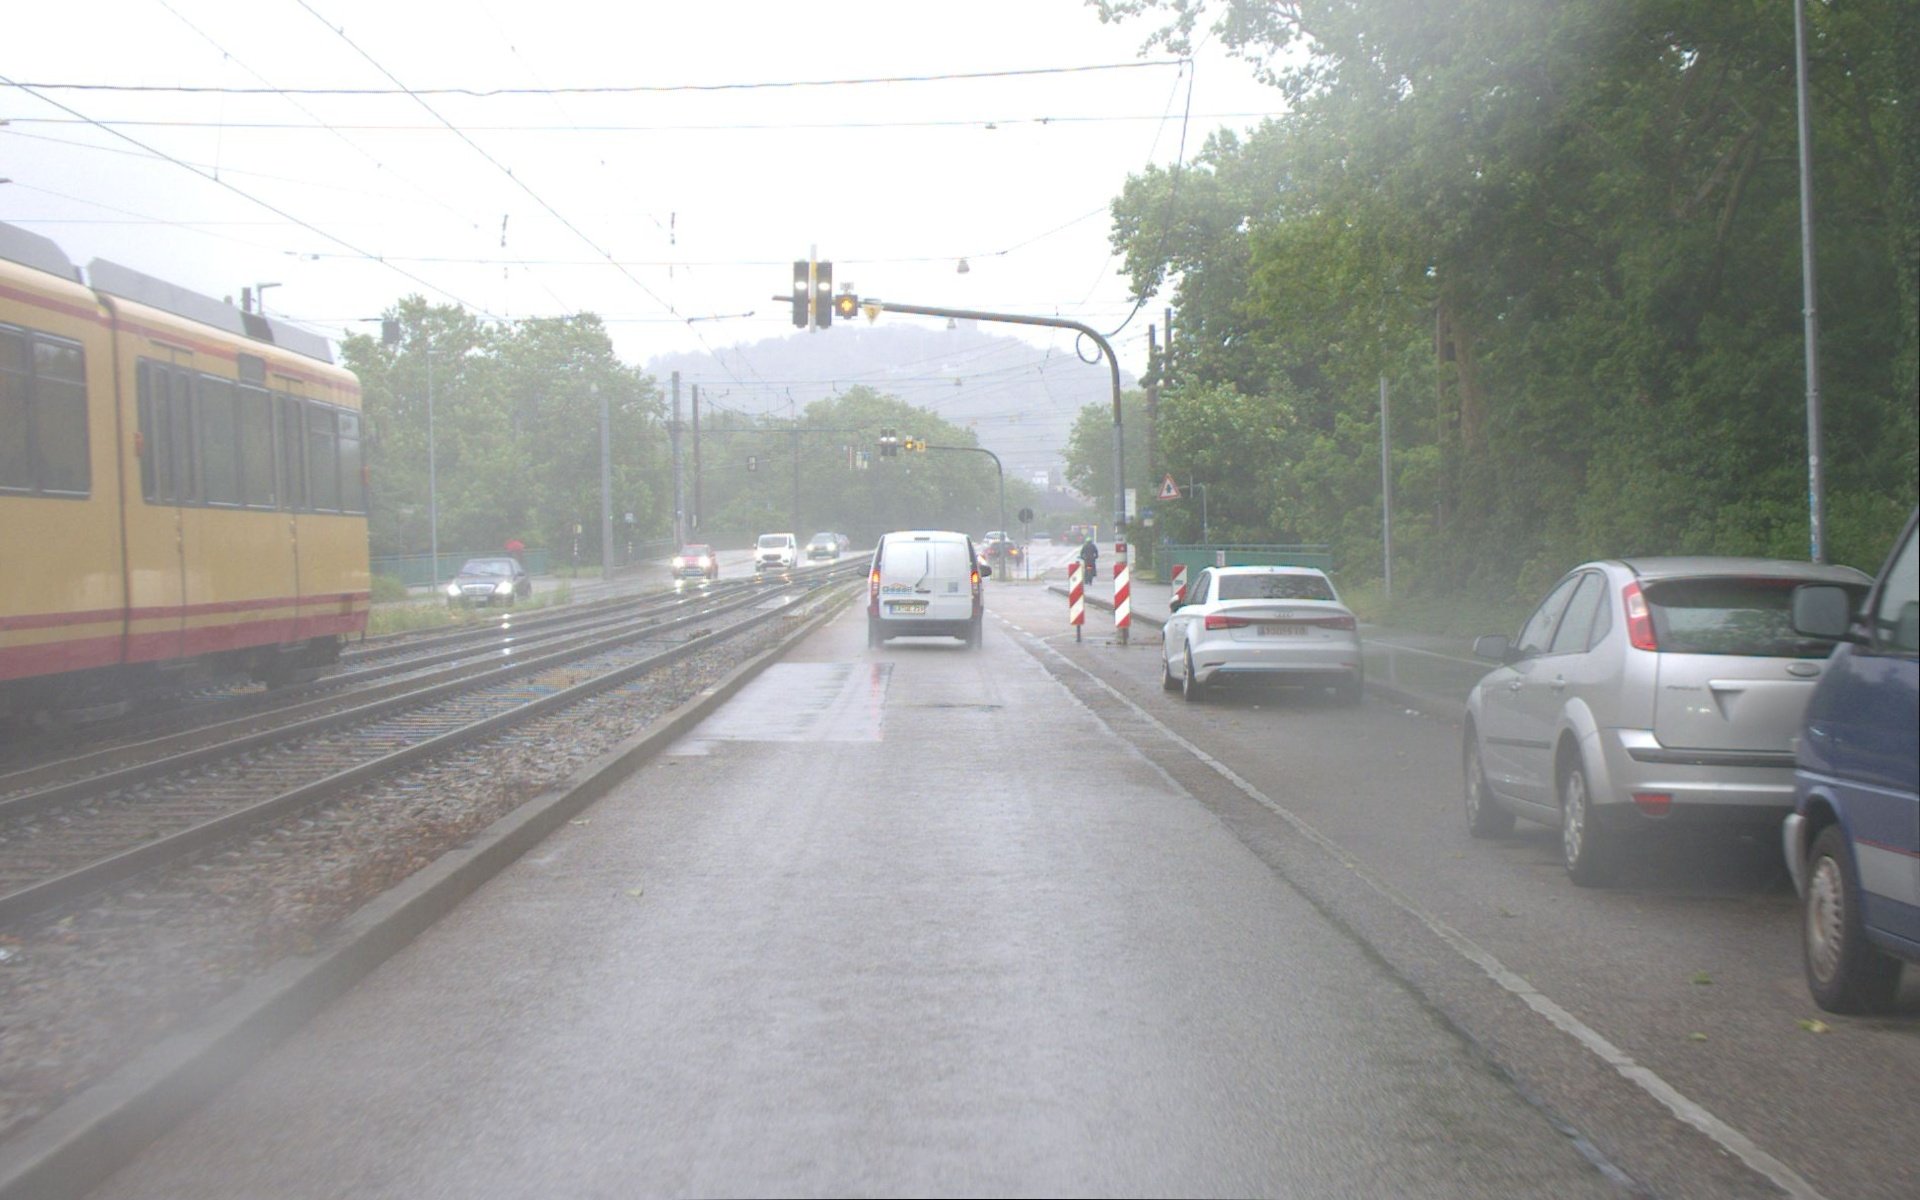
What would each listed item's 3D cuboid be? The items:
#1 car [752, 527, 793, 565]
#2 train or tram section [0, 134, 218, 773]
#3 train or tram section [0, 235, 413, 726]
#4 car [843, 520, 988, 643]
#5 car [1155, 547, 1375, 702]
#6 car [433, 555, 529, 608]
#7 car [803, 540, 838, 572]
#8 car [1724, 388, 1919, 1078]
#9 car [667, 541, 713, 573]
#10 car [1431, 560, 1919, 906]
[{"bbox_3d":[-10.400,-2.983,190.753,1.993,2.007,4.000,0,0,0],"label":"car"},{"bbox_3d":[-7.618,-0.953,22.504,2.806,4.135,13.020,0,1,-1],"label":"train or tram section"},{"bbox_3d":[-7.679,-1.027,34.169,2.811,4.135,10.269,0,0,0],"label":"train or tram section"},{"bbox_3d":[-0.728,-0.297,53.429,1.993,1.842,4.001,0,1,-4],"label":"car"},{"bbox_3d":[3.136,0.206,36.138,1.819,1.481,4.481,1,1,-1],"label":"car"},{"bbox_3d":[-13.307,-0.542,95.806,1.993,1.399,5.386,0,1,-1],"label":"car"},{"bbox_3d":[-8.791,-2.787,217.340,1.993,1.941,4.000,0,0,0],"label":"car"},{"bbox_3d":[3.744,0.405,9.907,1.876,2.007,4.980,1,1,-1],"label":"car"},{"bbox_3d":[-12.275,-1.977,156.640,1.819,1.393,4.000,-1,1,-1],"label":"car"},{"bbox_3d":[3.562,0.560,16.906,1.812,1.454,4.346,1,0,-1],"label":"car"}]
